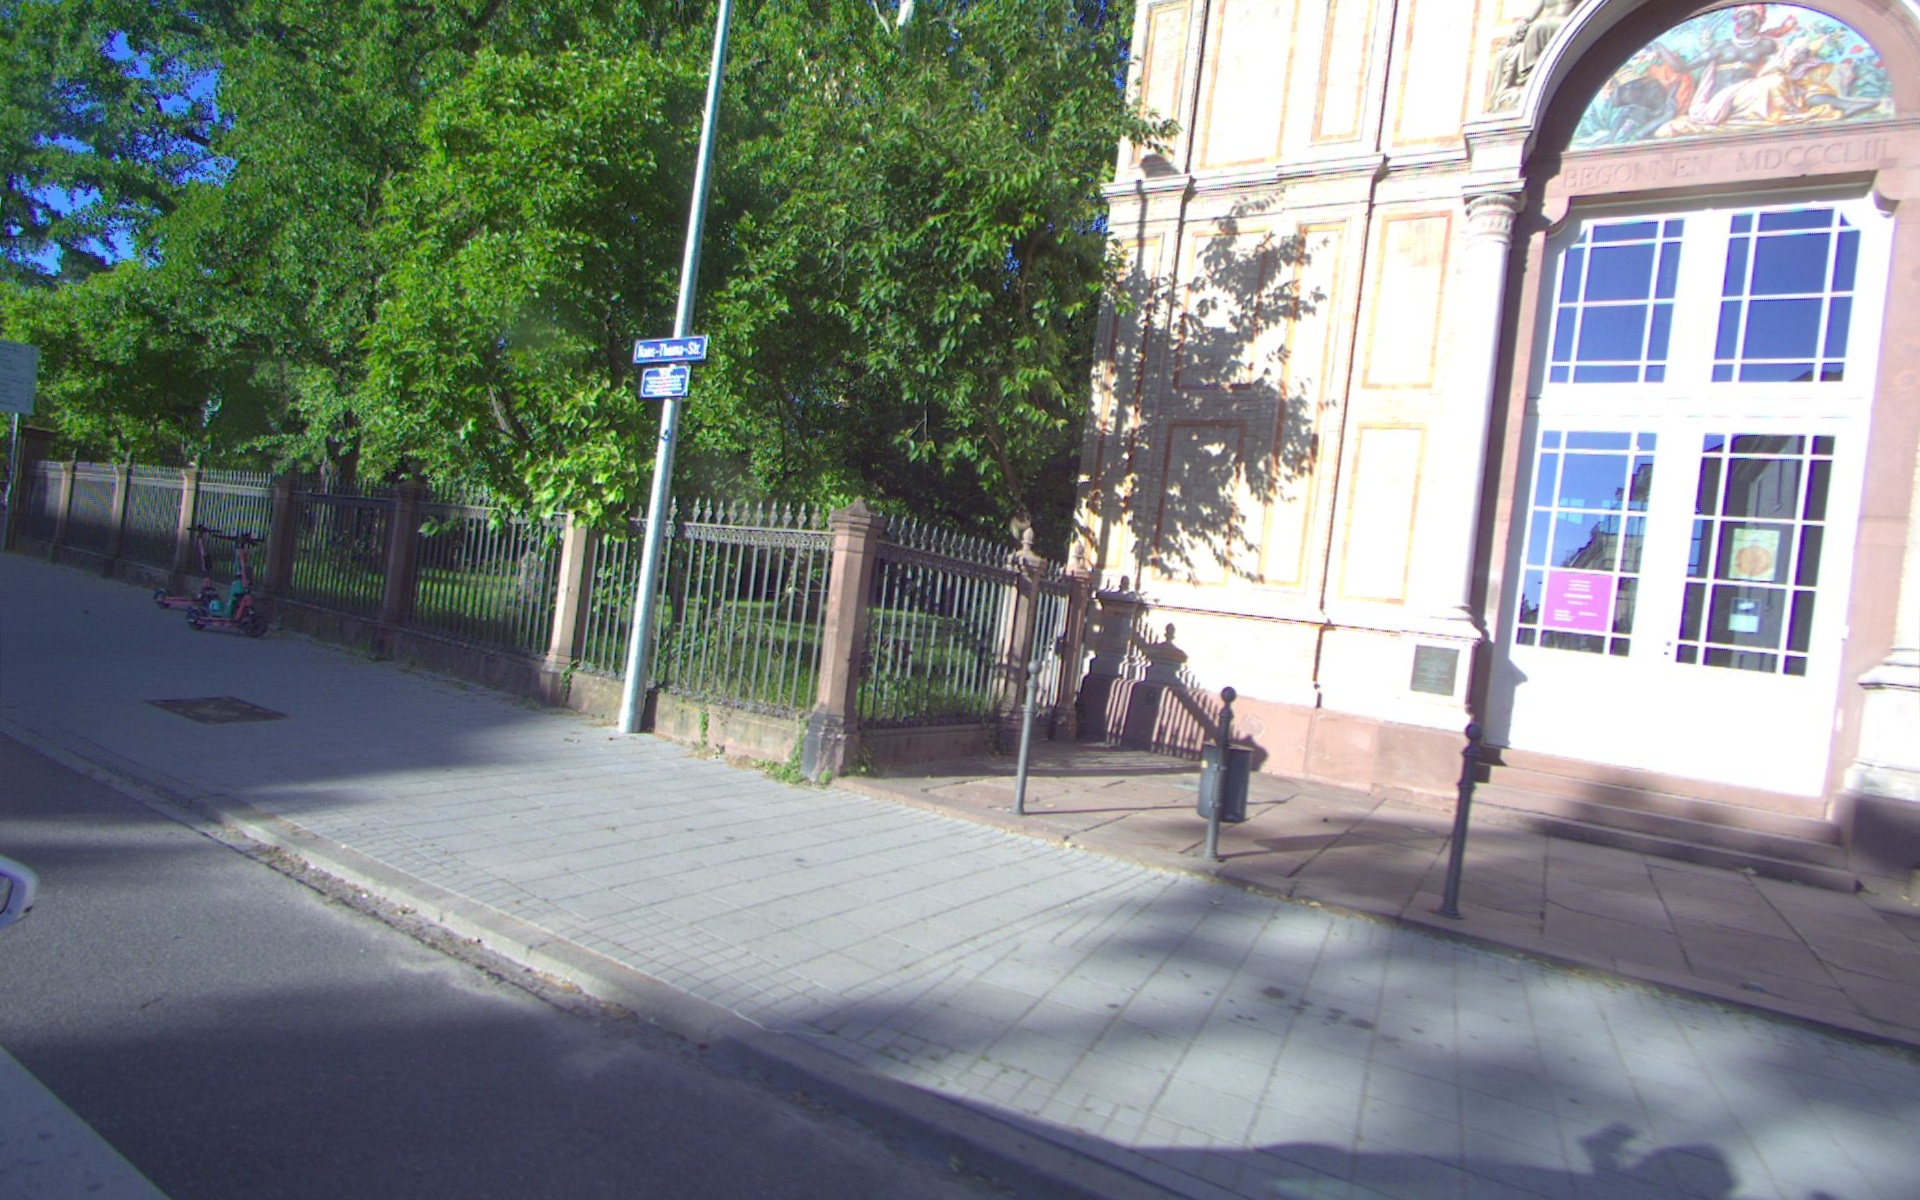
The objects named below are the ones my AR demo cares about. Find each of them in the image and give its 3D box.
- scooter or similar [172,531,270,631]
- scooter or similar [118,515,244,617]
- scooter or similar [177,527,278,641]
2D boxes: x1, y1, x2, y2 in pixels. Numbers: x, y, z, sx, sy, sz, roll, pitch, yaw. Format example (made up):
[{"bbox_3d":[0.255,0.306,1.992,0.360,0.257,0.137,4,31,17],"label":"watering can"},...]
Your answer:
[{"bbox_3d":[-9.572,-0.254,13.017,1.314,1.136,0.481,7,1,31],"label":"scooter or similar"},{"bbox_3d":[-11.010,-0.476,14.218,1.528,1.258,0.549,7,1,17],"label":"scooter or similar"},{"bbox_3d":[-8.933,-0.197,12.263,1.139,1.255,0.297,7,1,19],"label":"scooter or similar"}]
